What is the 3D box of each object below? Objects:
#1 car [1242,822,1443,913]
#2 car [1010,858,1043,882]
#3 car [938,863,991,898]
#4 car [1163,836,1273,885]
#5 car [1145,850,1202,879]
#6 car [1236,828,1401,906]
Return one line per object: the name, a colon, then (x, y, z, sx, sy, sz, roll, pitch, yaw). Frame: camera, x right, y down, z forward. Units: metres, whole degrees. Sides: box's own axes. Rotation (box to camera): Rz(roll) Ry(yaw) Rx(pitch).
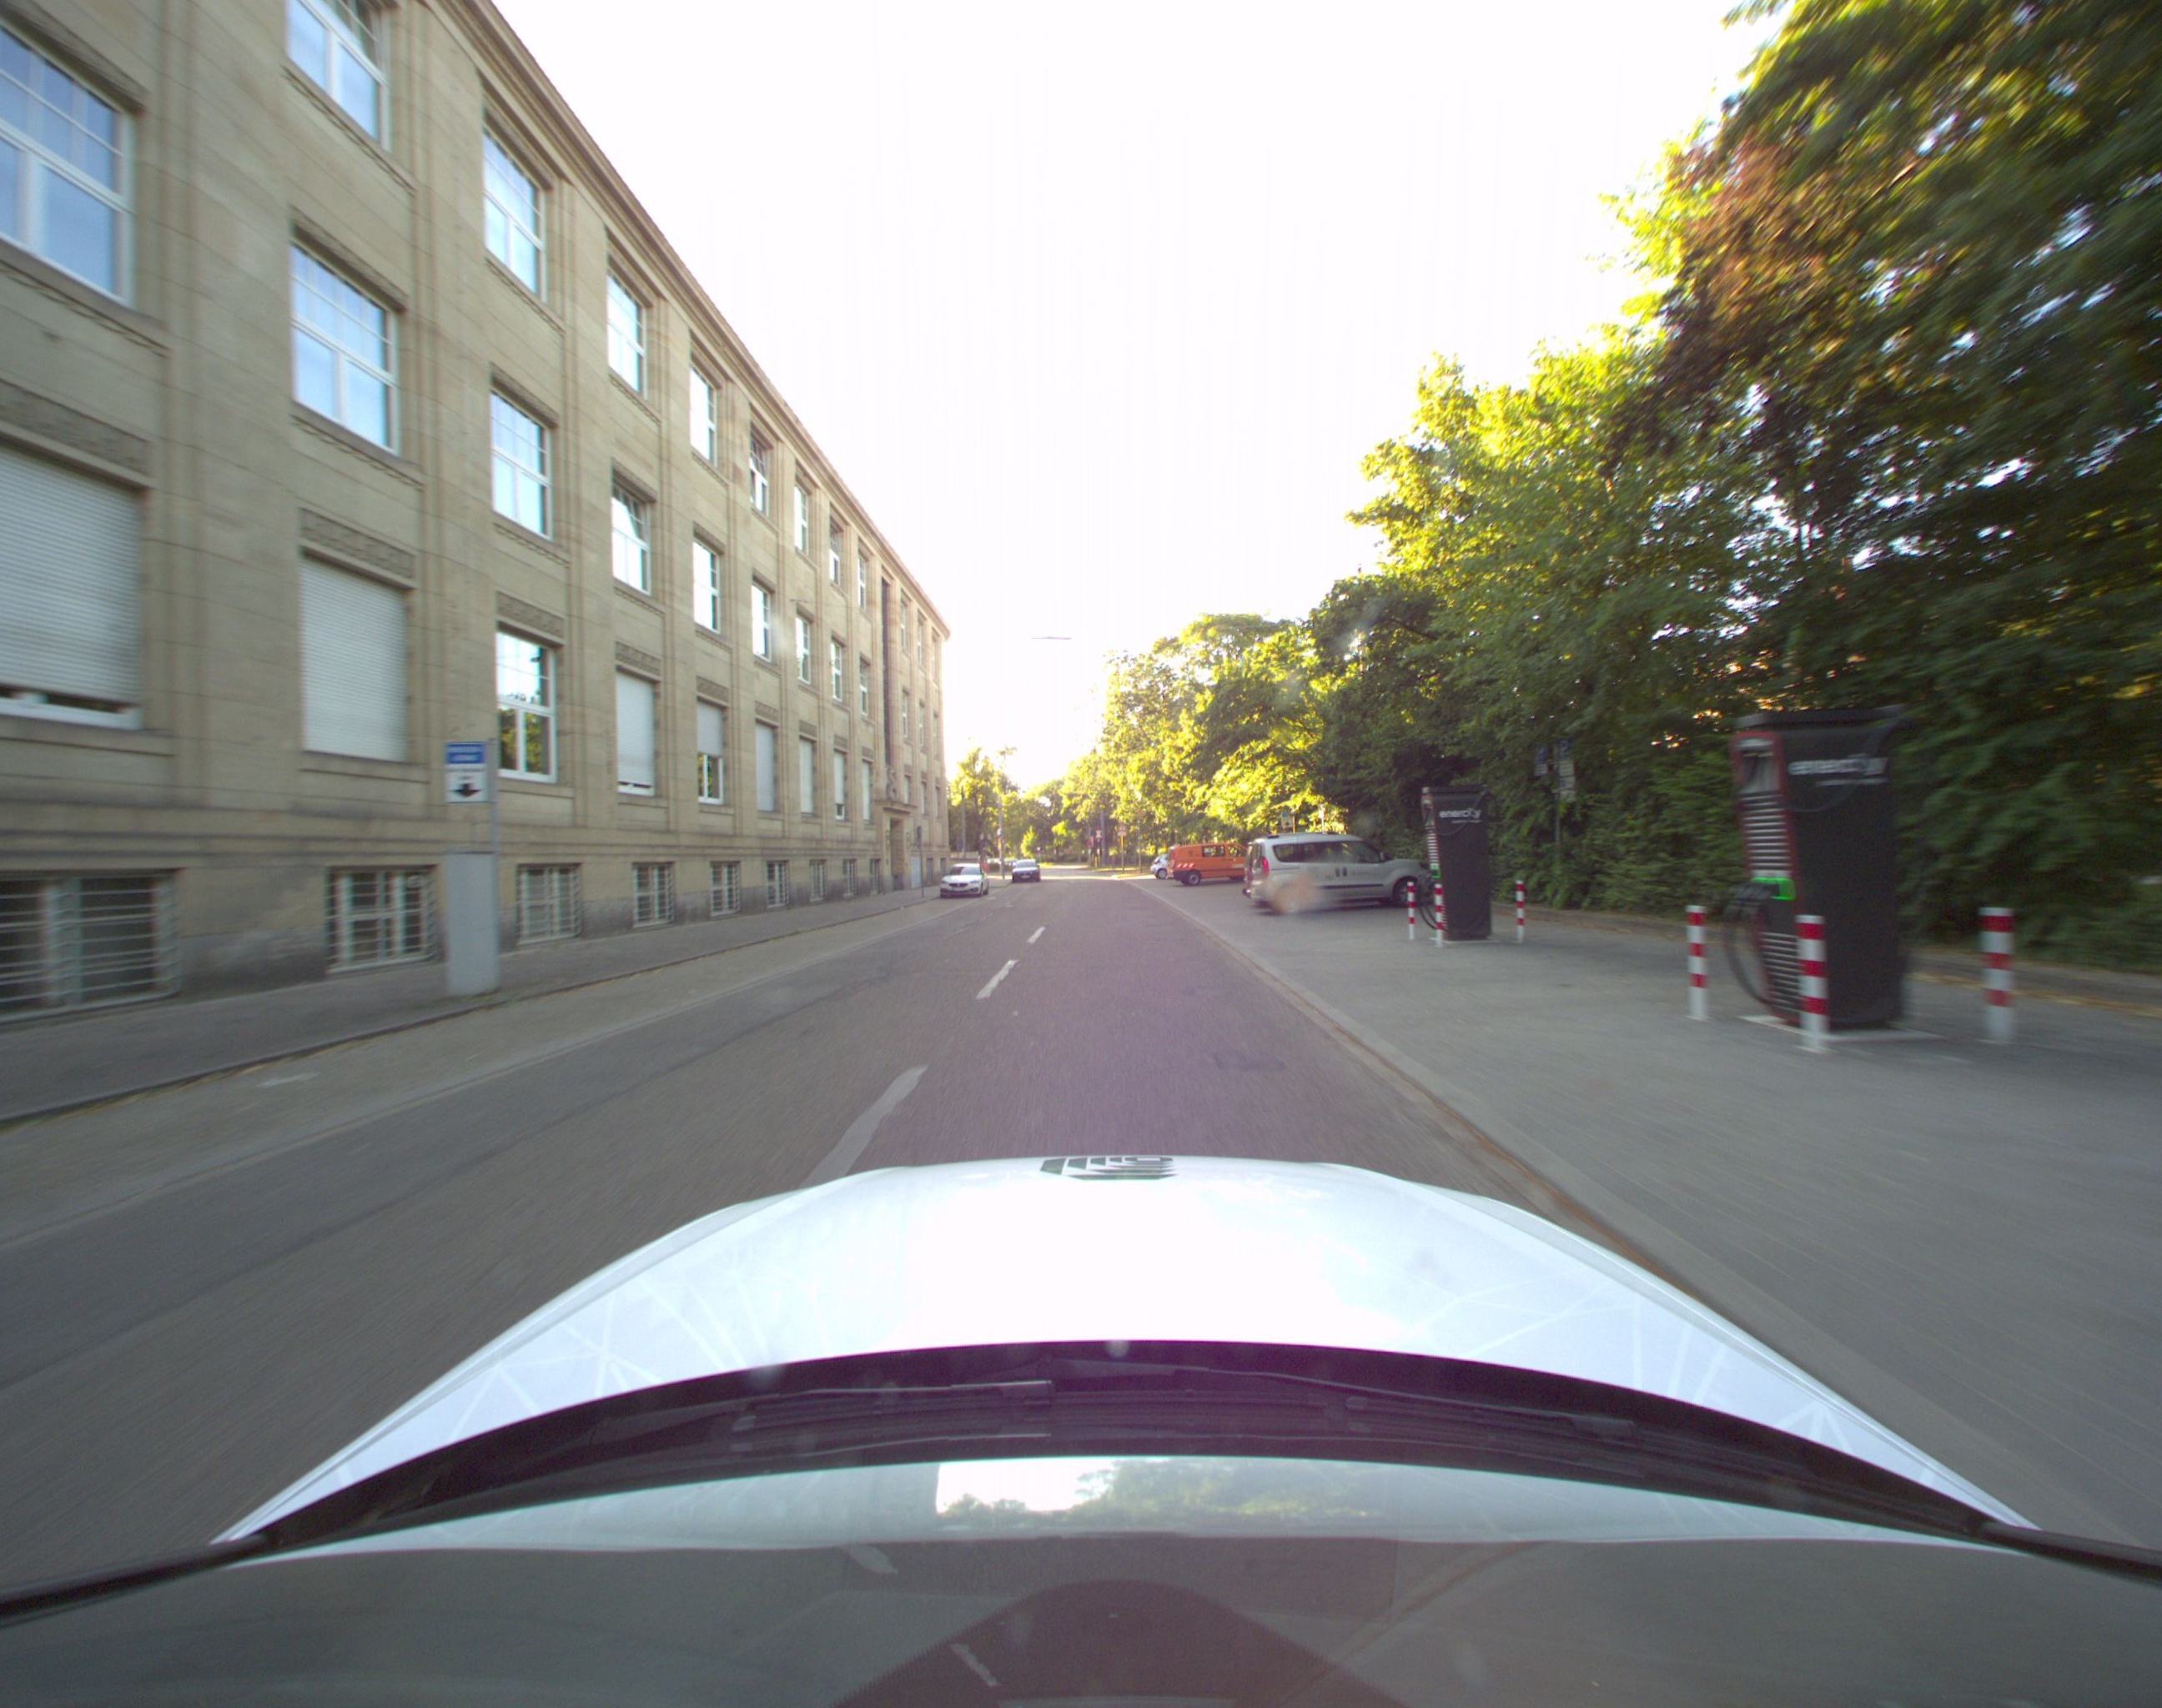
car: (6.213, 0.331, 19.804, 4.211, 1.859, 2.002, -3, -1, 3)
car: (-3.528, 1.012, 53.521, 1.873, 1.466, 4.371, -2, 0, -1)
car: (-5.083, 1.128, 36.174, 1.722, 1.397, 4.371, -2, 0, -1)
car: (6.554, 0.302, 39.170, 4.810, 2.013, 1.799, -4, 0, -5)
car: (5.648, 0.633, 49.697, 3.138, 1.503, 1.538, -4, 0, -5)
car: (6.446, 0.347, 22.426, 4.007, 1.835, 1.615, -3, 0, 3)
